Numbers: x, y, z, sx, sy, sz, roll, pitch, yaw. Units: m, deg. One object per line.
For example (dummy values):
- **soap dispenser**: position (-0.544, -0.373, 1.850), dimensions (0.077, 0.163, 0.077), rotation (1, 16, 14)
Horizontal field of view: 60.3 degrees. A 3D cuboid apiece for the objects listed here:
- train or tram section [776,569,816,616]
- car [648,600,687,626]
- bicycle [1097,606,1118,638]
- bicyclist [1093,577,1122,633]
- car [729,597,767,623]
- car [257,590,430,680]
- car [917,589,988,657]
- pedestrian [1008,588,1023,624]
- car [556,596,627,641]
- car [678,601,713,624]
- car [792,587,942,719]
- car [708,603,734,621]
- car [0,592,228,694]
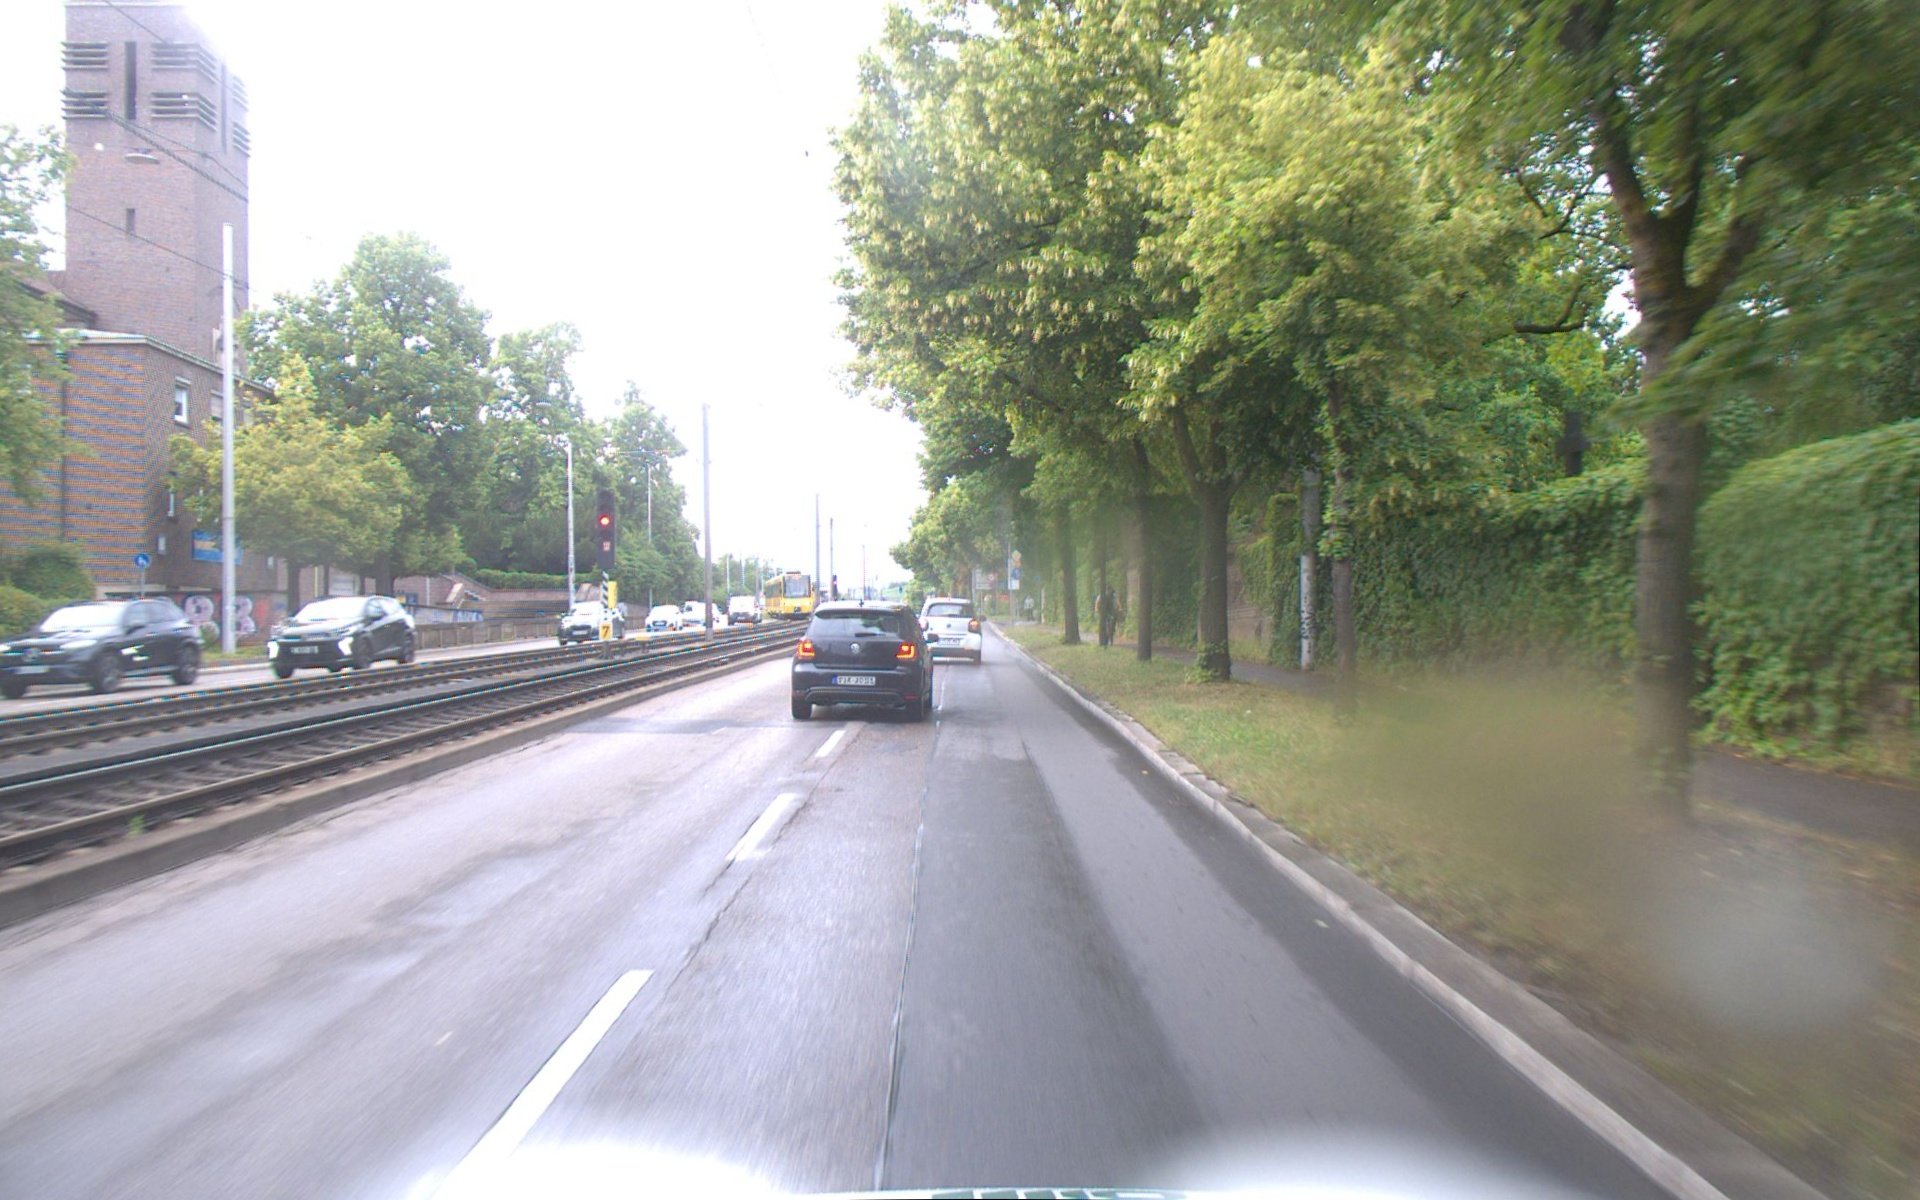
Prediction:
- **train or tram section**: position (-13.415, -0.647, 135.921), dimensions (2.776, 3.668, 9.265), rotation (1, 0, -3)
- **car**: position (-16.872, 0.731, 95.597), dimensions (1.584, 1.459, 3.999), rotation (1, 0, -1)
- **bicycle**: position (4.411, 0.658, 49.624), dimensions (0.399, 0.918, 2.098), rotation (-1, 0, -1)
- **bicyclist**: position (4.414, 0.140, 49.625), dimensions (0.747, 1.644, 0.998), rotation (-1, 0, -1)
- **car**: position (-14.115, 0.651, 110.391), dimensions (1.953, 1.691, 5.126), rotation (1, 0, -1)
- **car**: position (-12.508, 0.659, 33.825), dimensions (1.796, 1.685, 4.241), rotation (-1, 0, 2)
- **car**: position (-0.178, 0.523, 40.384), dimensions (1.641, 1.557, 3.721), rotation (-1, 0, 0)
- **pedestrian**: position (4.686, 0.513, 139.376), dimensions (1.140, 3.029, 0.948), rotation (1, 0, -1)
- **car**: position (-12.860, 0.635, 57.931), dimensions (1.646, 1.487, 3.608), rotation (-1, 0, 0)
- **car**: position (-17.831, 0.834, 111.621), dimensions (1.693, 1.468, 3.999), rotation (1, 0, -1)
- **car**: position (-1.157, 0.615, 21.623), dimensions (1.757, 1.511, 3.964), rotation (1, 1, -2)
- **car**: position (-18.506, 0.964, 127.994), dimensions (1.527, 1.362, 3.648), rotation (1, 0, -1)
- **car**: position (-15.332, 0.711, 30.052), dimensions (1.971, 1.685, 4.617), rotation (-1, 0, 0)
